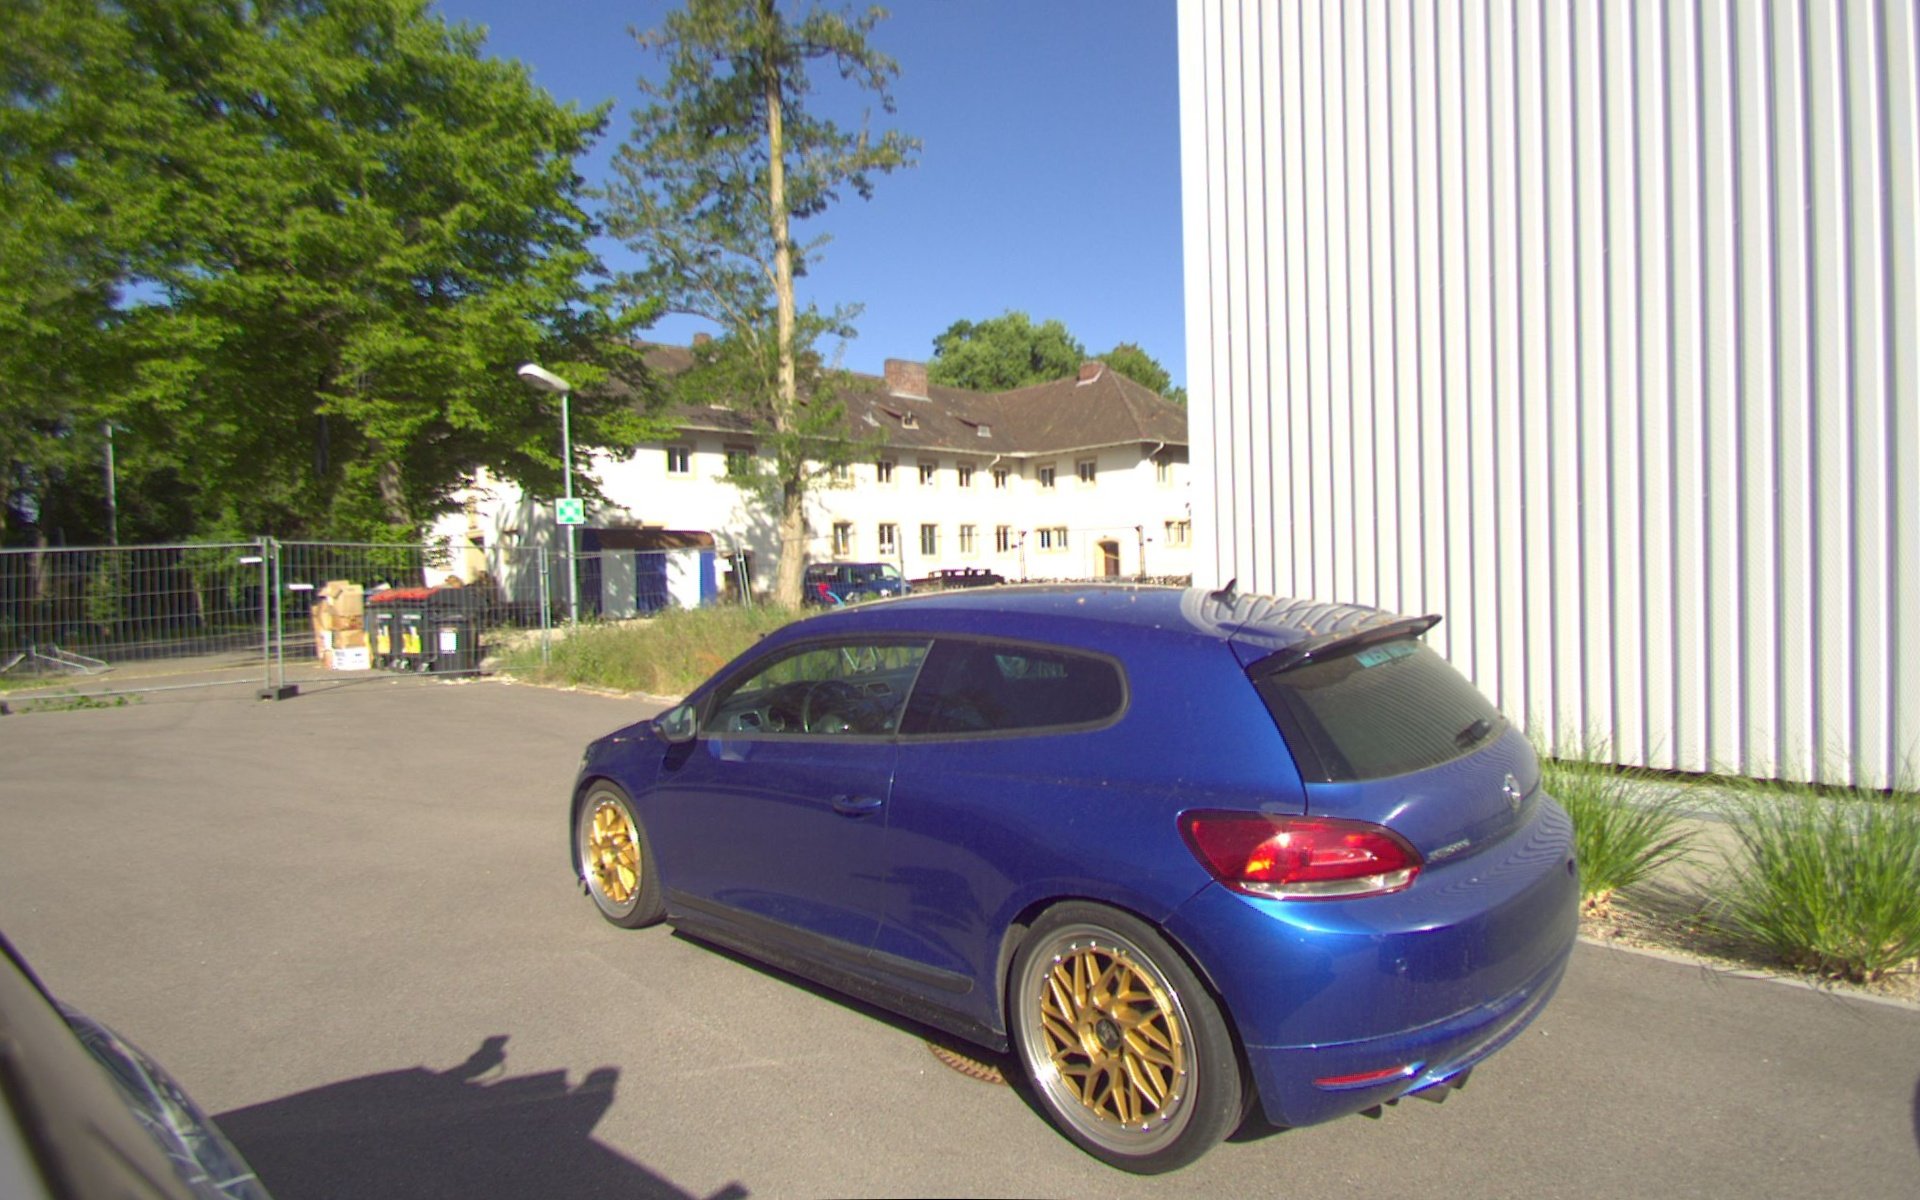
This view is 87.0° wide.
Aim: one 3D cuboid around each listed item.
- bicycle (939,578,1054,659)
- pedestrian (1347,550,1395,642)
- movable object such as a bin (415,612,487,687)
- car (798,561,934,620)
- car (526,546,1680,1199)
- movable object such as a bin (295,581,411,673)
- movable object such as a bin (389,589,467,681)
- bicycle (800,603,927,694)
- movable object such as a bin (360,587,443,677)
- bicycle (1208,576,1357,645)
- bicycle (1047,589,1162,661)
[{"bbox_3d":[0.503,0.258,14.668,0.517,1.090,1.800,-3,2,-42],"label":"bicycle"},{"bbox_3d":[7.920,-0.082,19.497,0.625,1.741,0.513,-2,1,-10],"label":"pedestrian"},{"bbox_3d":[-8.021,0.760,15.944,0.806,1.105,0.740,-3,2,-41],"label":"movable object such as a bin"},{"bbox_3d":[-3.322,-0.305,35.143,4.724,1.916,1.972,-1,1,42],"label":"car"},{"bbox_3d":[0.073,0.605,3.713,1.650,1.360,3.956,-6,3,-45],"label":"car"},{"bbox_3d":[-11.485,0.481,19.116,2.294,1.603,1.159,-1,2,40],"label":"movable object such as a bin"},{"bbox_3d":[-8.879,0.565,16.877,1.248,1.455,0.693,-1,2,40],"label":"movable object such as a bin"},{"bbox_3d":[-1.253,0.597,12.873,1.804,1.070,0.453,-1,2,41],"label":"bicycle"},{"bbox_3d":[-9.836,0.537,17.822,1.340,1.495,0.796,-1,2,40],"label":"movable object such as a bin"},{"bbox_3d":[6.404,0.197,20.269,1.123,1.275,2.643,-2,0,-40],"label":"bicycle"},{"bbox_3d":[2.312,0.395,16.422,1.895,1.103,0.518,-1,1,45],"label":"bicycle"}]
